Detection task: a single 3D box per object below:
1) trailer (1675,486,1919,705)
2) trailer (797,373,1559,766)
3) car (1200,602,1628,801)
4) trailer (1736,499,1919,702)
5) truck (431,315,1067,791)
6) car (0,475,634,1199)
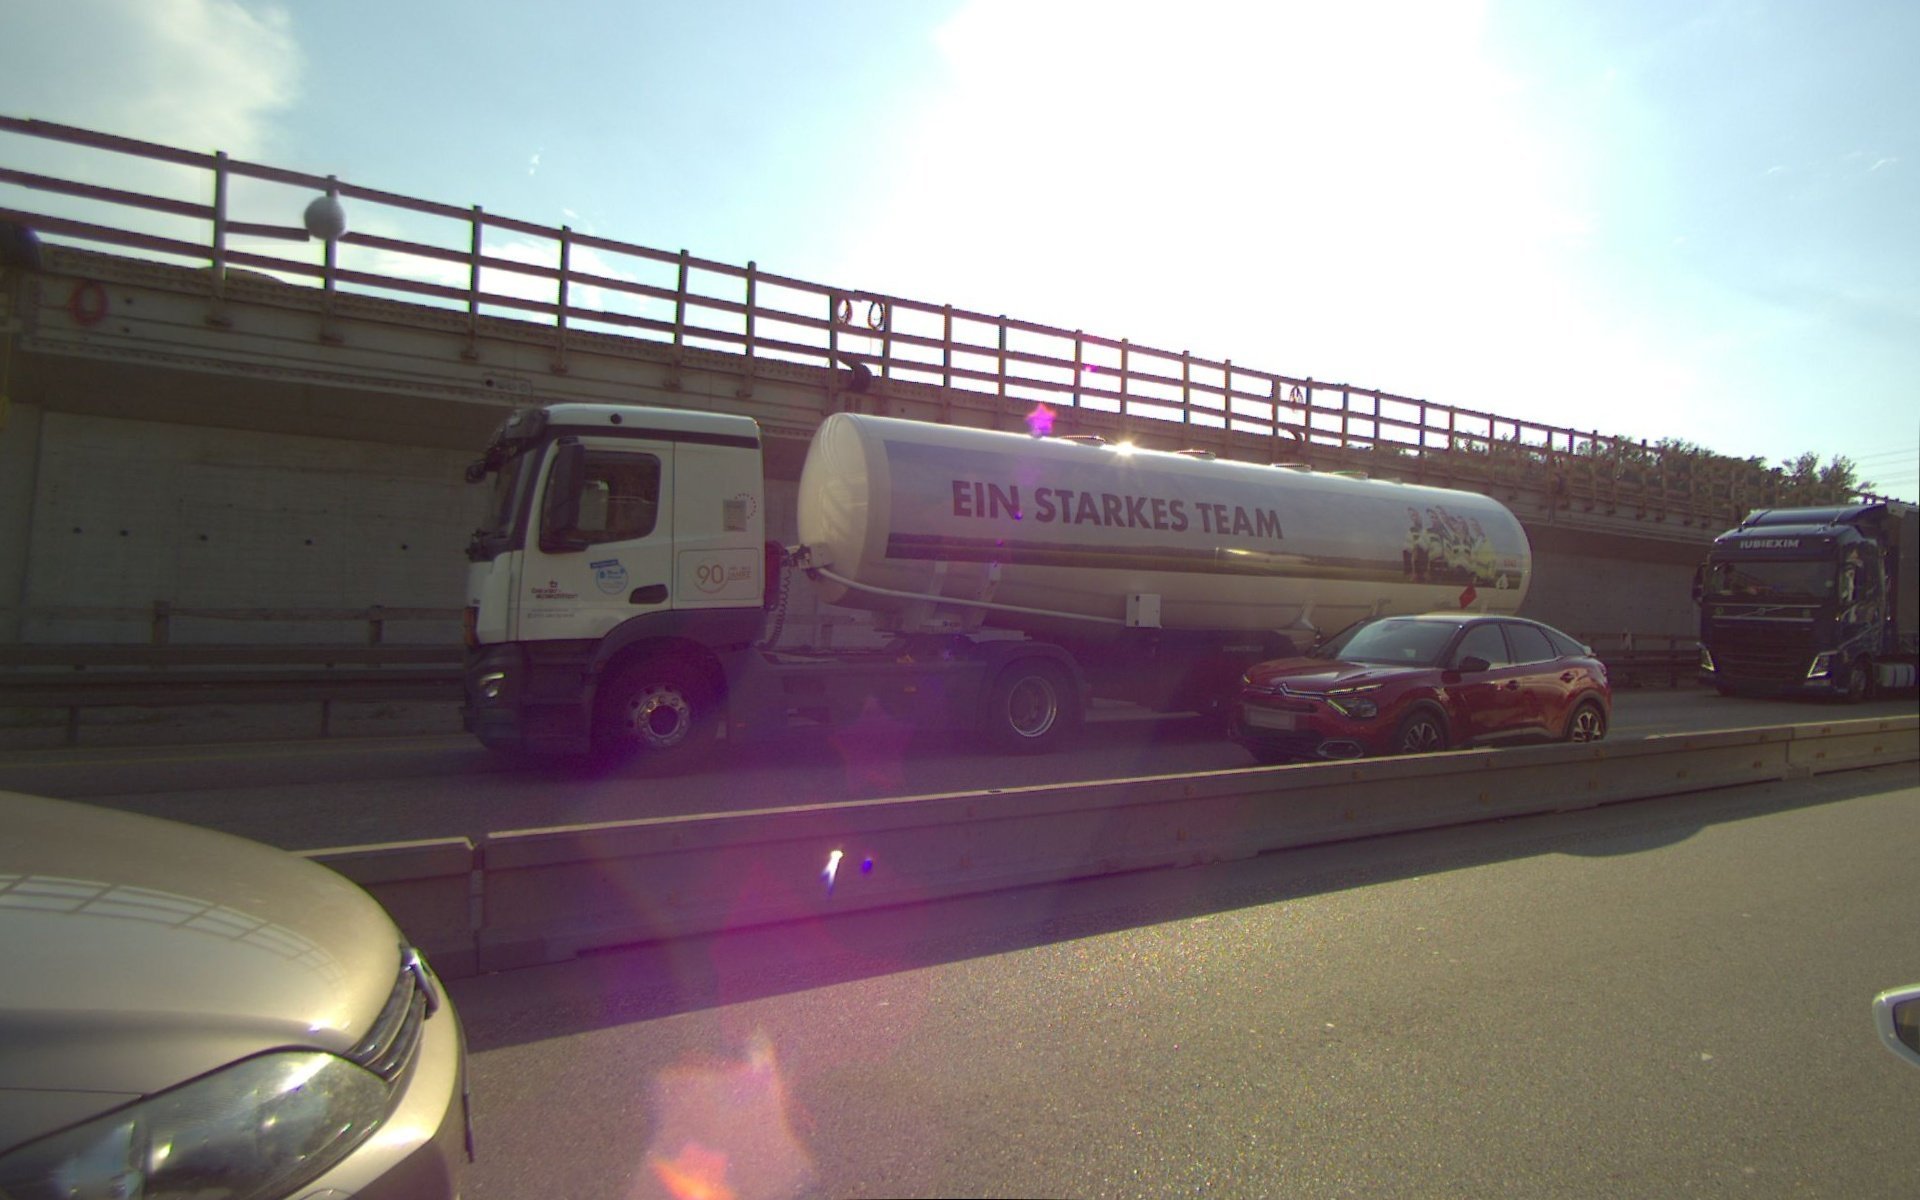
[{"bbox_3d":[18.628,-0.053,21.925,5.907,4.197,2.751,1,0,-31],"label":"trailer"},{"bbox_3d":[3.392,-0.084,12.889,10.557,3.573,2.544,3,0,-30],"label":"trailer"},{"bbox_3d":[4.540,0.860,9.880,4.248,1.578,1.716,1,0,-31],"label":"car"},{"bbox_3d":[24.520,0.111,25.478,13.863,4.197,2.750,1,0,-31],"label":"trailer"},{"bbox_3d":[-1.960,-0.249,9.802,5.468,3.454,2.536,3,0,-31],"label":"truck"},{"bbox_3d":[-2.692,0.612,0.979,4.223,1.609,1.672,3,-2,-31],"label":"car"}]
